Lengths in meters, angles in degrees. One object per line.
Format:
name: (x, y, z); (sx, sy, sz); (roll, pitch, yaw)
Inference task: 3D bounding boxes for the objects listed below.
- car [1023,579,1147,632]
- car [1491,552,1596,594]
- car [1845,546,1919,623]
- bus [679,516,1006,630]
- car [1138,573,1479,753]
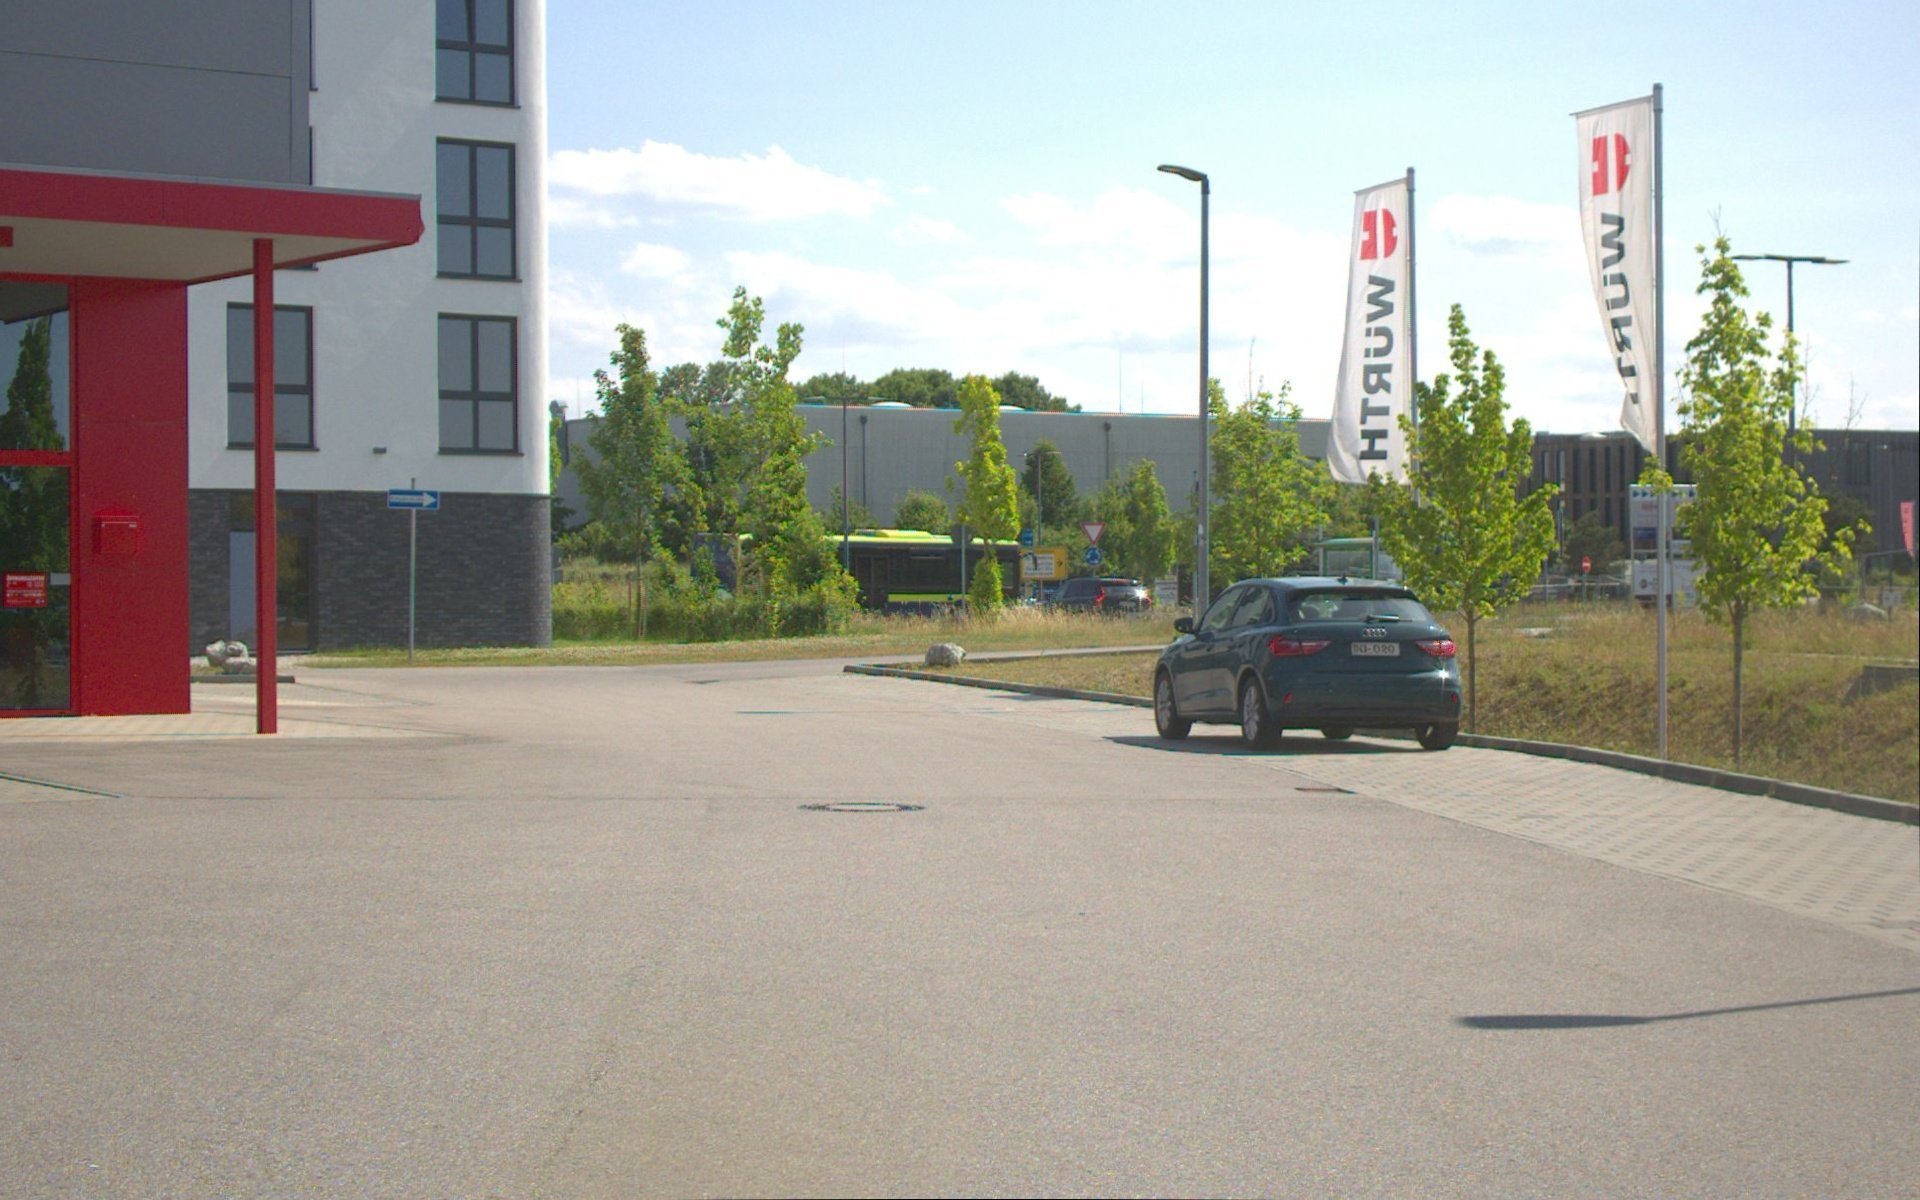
car: (3.427, 0.130, 94.815); (1.647, 1.381, 3.512); (-1, 1, -34)
car: (23.547, -1.082, 138.706); (3.946, 1.652, 1.906); (-1, 1, -34)
car: (20.761, -0.343, 72.842); (3.654, 1.592, 1.715); (0, 1, -26)
bus: (-3.687, -0.930, 111.362); (11.217, 3.545, 2.575); (-1, 1, -38)
car: (2.864, 0.482, 29.103); (1.698, 1.401, 3.898); (0, 1, -13)
